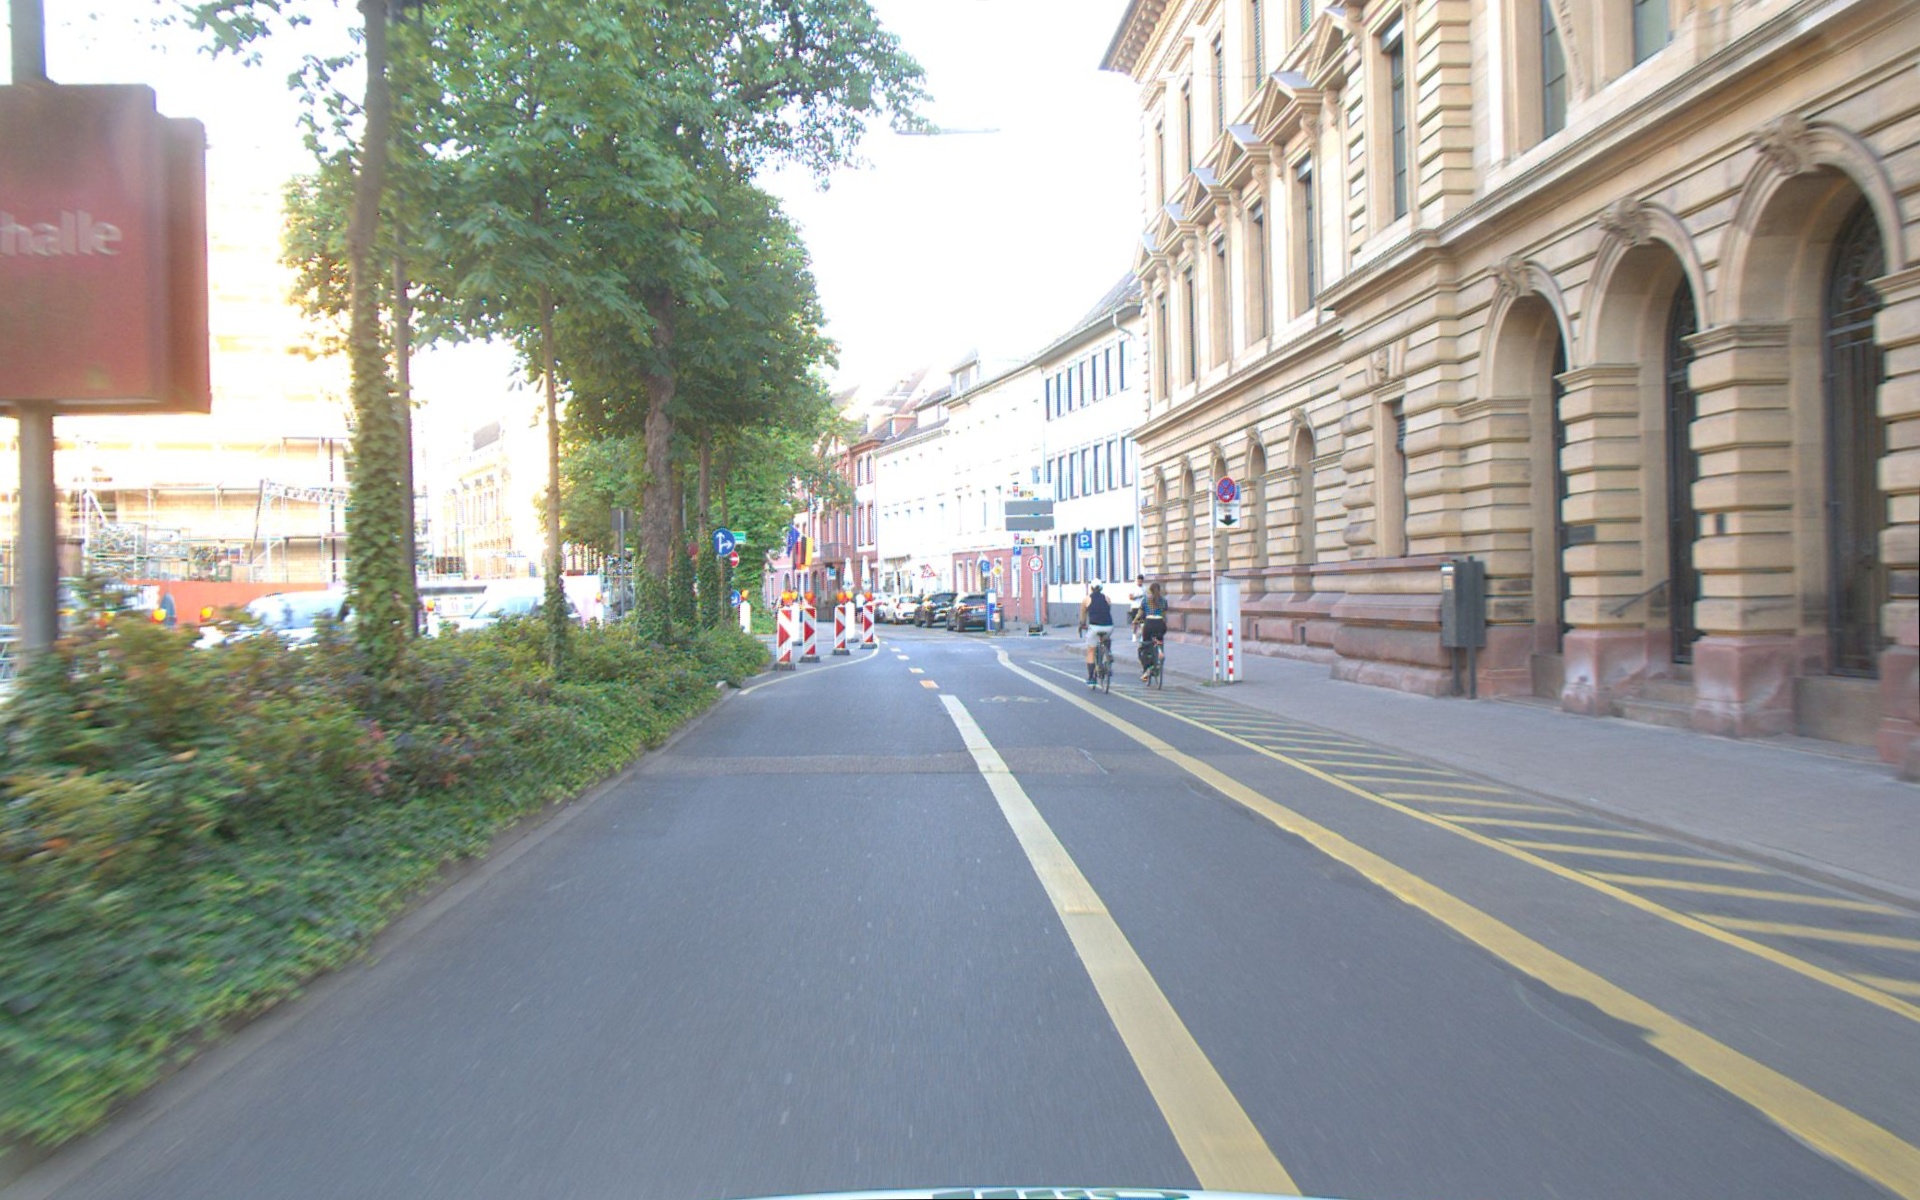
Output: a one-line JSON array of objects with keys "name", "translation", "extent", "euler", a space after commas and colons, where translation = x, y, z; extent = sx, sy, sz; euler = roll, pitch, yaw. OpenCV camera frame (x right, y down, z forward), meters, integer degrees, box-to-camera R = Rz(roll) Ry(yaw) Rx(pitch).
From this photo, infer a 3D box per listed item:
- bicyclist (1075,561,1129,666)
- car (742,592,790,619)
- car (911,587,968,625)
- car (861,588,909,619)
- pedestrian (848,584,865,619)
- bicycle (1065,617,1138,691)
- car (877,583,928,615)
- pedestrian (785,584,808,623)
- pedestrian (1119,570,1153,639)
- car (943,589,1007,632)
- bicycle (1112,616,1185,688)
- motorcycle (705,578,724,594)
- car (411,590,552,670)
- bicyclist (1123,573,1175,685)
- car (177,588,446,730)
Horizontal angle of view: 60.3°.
[{"name": "bicyclist", "translation": [2.204, 0.208, 25.696], "extent": [0.657, 1.593, 0.697], "euler": [1, 0, -10]}, {"name": "car", "translation": [-11.785, 0.343, 100.215], "extent": [1.790, 1.587, 3.834], "euler": [-1, 0, -25]}, {"name": "car", "translation": [-0.985, 0.255, 77.206], "extent": [1.782, 1.713, 3.985], "euler": [-1, 0, -14]}, {"name": "car", "translation": [-4.086, 0.179, 89.539], "extent": [1.782, 1.587, 3.849], "euler": [-1, 0, -15]}, {"name": "pedestrian", "translation": [-5.592, 0.070, 89.339], "extent": [0.814, 1.877, 0.958], "euler": [0, 0, 1]}, {"name": "bicycle", "translation": [2.188, 0.822, 25.795], "extent": [0.657, 1.089, 1.896], "euler": [0, 0, -11]}, {"name": "car", "translation": [-2.990, -0.060, 85.261], "extent": [1.782, 1.587, 3.849], "euler": [-1, 0, -15]}, {"name": "pedestrian", "translation": [-7.222, 0.138, 73.077], "extent": [0.719, 1.703, 0.896], "euler": [-1, 0, 19]}, {"name": "pedestrian", "translation": [4.623, 0.101, 43.454], "extent": [0.800, 1.796, 1.038], "euler": [0, 0, 1]}, {"name": "car", "translation": [0.591, 0.427, 69.396], "extent": [1.781, 1.712, 3.905], "euler": [-1, 0, -14]}, {"name": "bicycle", "translation": [3.078, 0.834, 27.188], "extent": [0.640, 1.089, 2.254], "euler": [1, 0, -8]}, {"name": "motorcycle", "translation": [-19.744, -1.147, 133.065], "extent": [1.026, 1.270, 2.384], "euler": [-1, 0, -20]}, {"name": "car", "translation": [-10.557, 0.620, 36.792], "extent": [1.805, 1.578, 4.175], "euler": [-3, 0, 1]}, {"name": "bicyclist", "translation": [3.091, 0.466, 27.108], "extent": [0.637, 1.791, 0.863], "euler": [1, 0, -8]}, {"name": "car", "translation": [-8.946, 0.731, 23.274], "extent": [1.804, 1.703, 4.557], "euler": [-3, 0, 2]}]
